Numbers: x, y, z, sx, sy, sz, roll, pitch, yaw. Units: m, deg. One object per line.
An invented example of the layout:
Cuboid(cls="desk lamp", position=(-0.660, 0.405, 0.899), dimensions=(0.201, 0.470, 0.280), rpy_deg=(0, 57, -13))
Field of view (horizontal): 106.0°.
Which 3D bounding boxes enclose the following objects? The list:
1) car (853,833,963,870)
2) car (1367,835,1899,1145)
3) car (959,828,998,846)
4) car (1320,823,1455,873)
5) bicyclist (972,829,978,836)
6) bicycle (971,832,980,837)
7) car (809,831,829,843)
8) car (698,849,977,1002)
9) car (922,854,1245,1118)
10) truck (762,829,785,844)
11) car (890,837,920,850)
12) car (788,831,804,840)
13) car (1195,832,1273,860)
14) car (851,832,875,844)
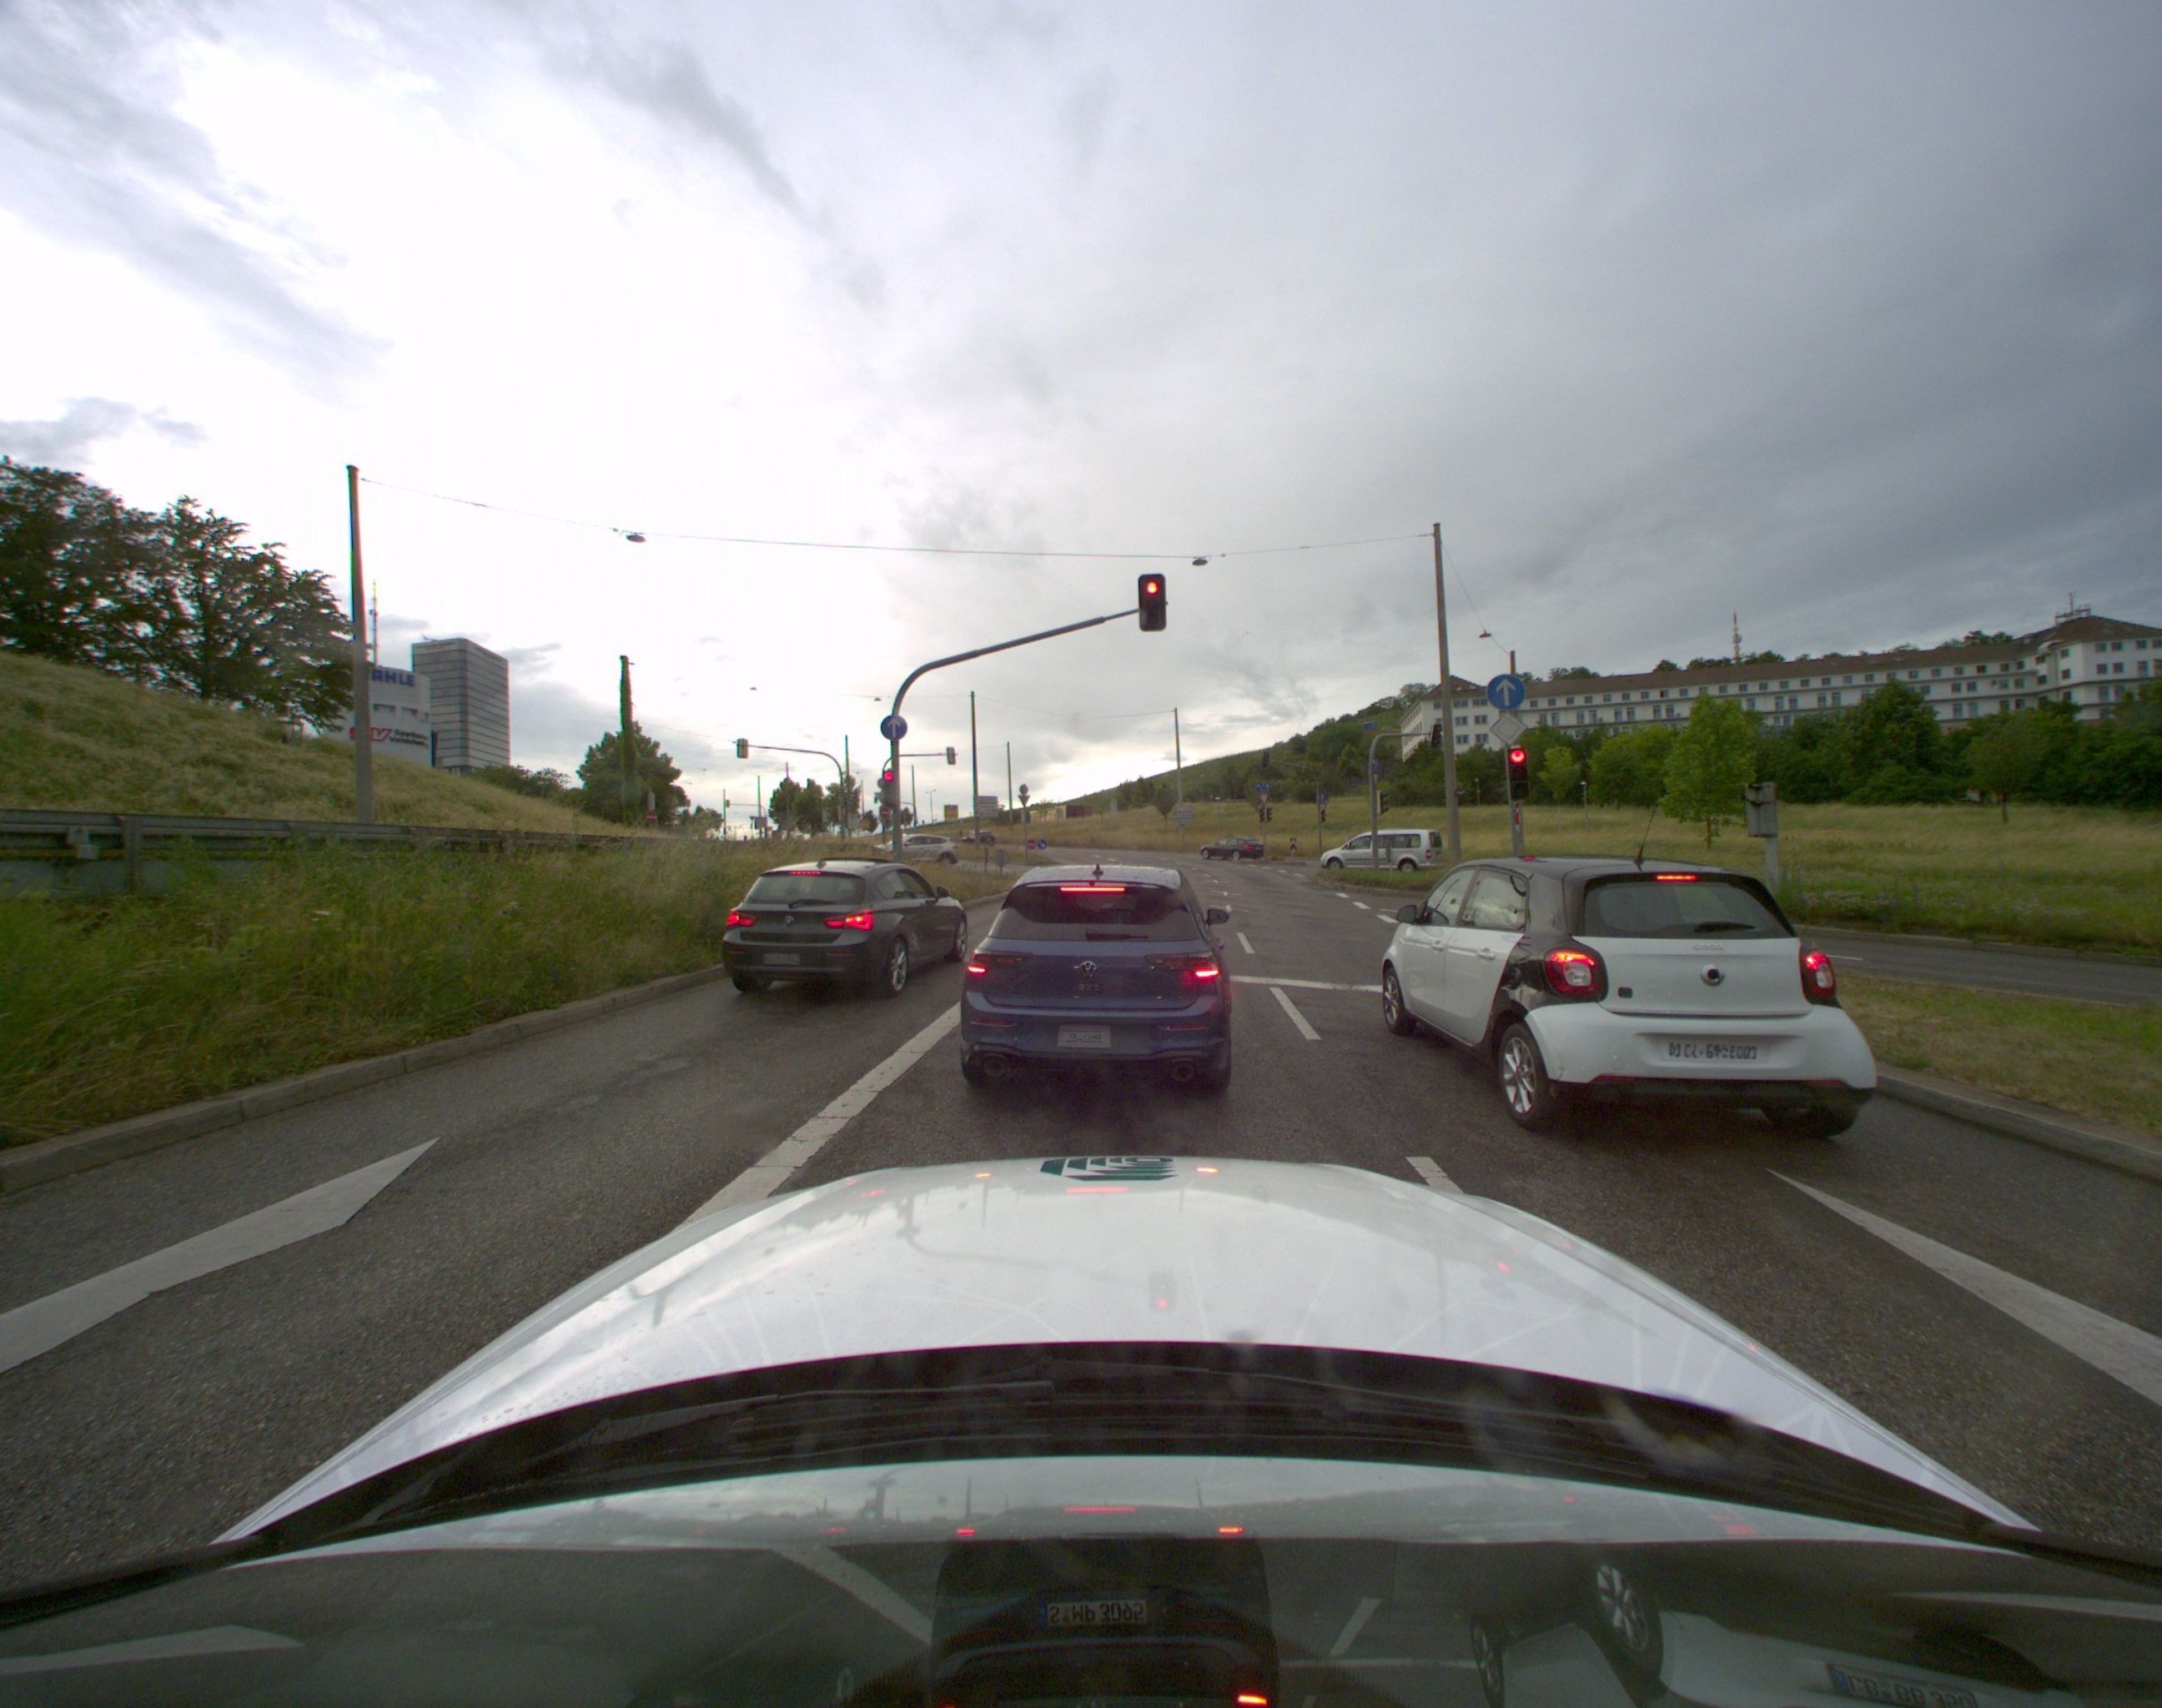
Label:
Cuboid(cls="car", position=(-7.930, -0.099, 37.511), dimensions=(4.545, 1.620, 1.978), rpy_deg=(0, -1, -36))
Cuboid(cls="car", position=(3.309, 0.692, 5.751), dimensions=(1.649, 1.503, 3.456), rpy_deg=(-1, -1, 6))
Cuboid(cls="car", position=(-10.004, -1.634, 79.176), dimensions=(2.008, 1.637, 4.373), rpy_deg=(0, -1, -35))
Cuboid(cls="car", position=(12.106, -0.191, 32.379), dimensions=(4.638, 1.850, 1.833), rpy_deg=(-1, -1, 42))
Cuboid(cls="bicyclist", position=(-14.880, -3.021, 114.216), dimensions=(0.526, 1.046, 0.575), rpy_deg=(2, 0, -32))
Cuboid(cls="bicycle", position=(-14.760, -2.748, 114.037), dimensions=(0.521, 0.775, 1.605), rpy_deg=(2, 0, -31))
Cuboid(cls="car", position=(-44.268, -2.851, 137.642), dimensions=(2.143, 1.794, 4.692), rpy_deg=(0, -1, -32))
Cuboid(cls="car", position=(-2.642, 0.688, 9.953), dimensions=(1.693, 1.459, 4.123), rpy_deg=(-1, 0, 7))
Cuboid(cls="car", position=(0.236, 0.741, 6.502), dimensions=(1.815, 1.460, 3.816), rpy_deg=(-1, 0, 7))
Cuboid(cls="truck", position=(-67.561, -3.815, 178.982), dimensions=(3.281, 3.074, 6.111), rpy_deg=(2, 0, -35))
Cuboid(cls="car", position=(-20.976, -1.242, 96.907), dimensions=(2.008, 1.477, 4.455), rpy_deg=(0, -1, -33))
Cuboid(cls="car", position=(-55.156, -3.565, 157.512), dimensions=(2.008, 1.659, 4.497), rpy_deg=(0, -1, -33))
Cuboid(cls="car", position=(9.507, -0.488, 50.887), dimensions=(2.008, 1.618, 4.801), rpy_deg=(0, 0, -34))
Cuboid(cls="car", position=(-30.651, -2.244, 114.329), dimensions=(2.007, 1.477, 4.375), rpy_deg=(0, -1, -33))
